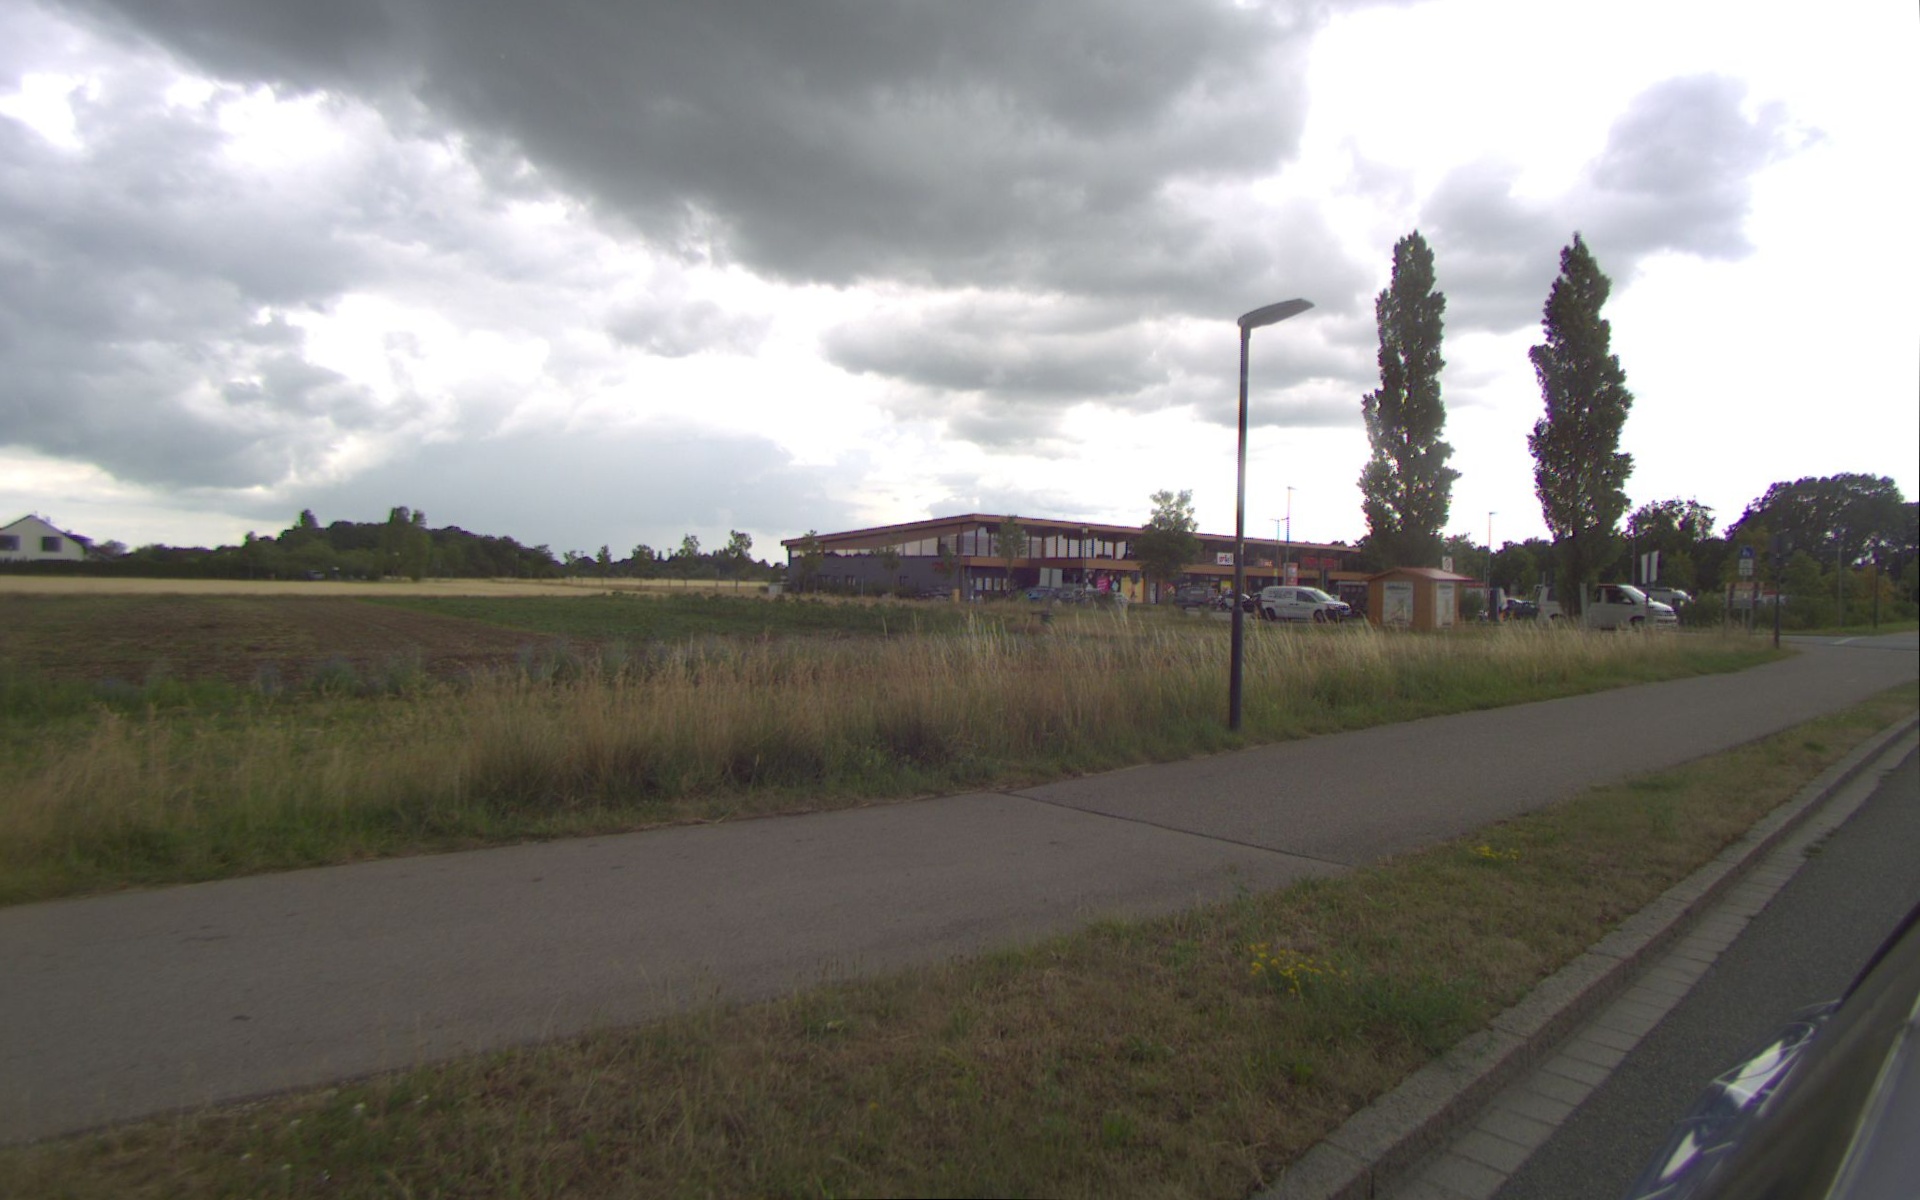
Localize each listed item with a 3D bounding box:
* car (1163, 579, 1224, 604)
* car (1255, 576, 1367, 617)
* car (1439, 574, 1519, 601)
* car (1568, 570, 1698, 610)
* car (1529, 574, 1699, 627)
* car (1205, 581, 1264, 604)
[{"bbox_3d":[20.347,-0.720,88.213,4.840,2.039,1.969,-1,0,43],"label":"car"},{"bbox_3d":[18.143,-0.171,52.590,1.963,2.039,5.315,-1,0,-36],"label":"car"},{"bbox_3d":[42.483,-0.998,82.927,5.510,2.039,1.969,-1,0,44],"label":"car"},{"bbox_3d":[35.845,-0.511,54.043,5.510,2.039,1.969,-1,0,44],"label":"car"},{"bbox_3d":[26.647,0.019,41.387,2.516,2.039,5.311,-1,0,-39],"label":"car"},{"bbox_3d":[25.177,-0.676,92.992,4.840,2.039,1.969,-1,0,43],"label":"car"}]
